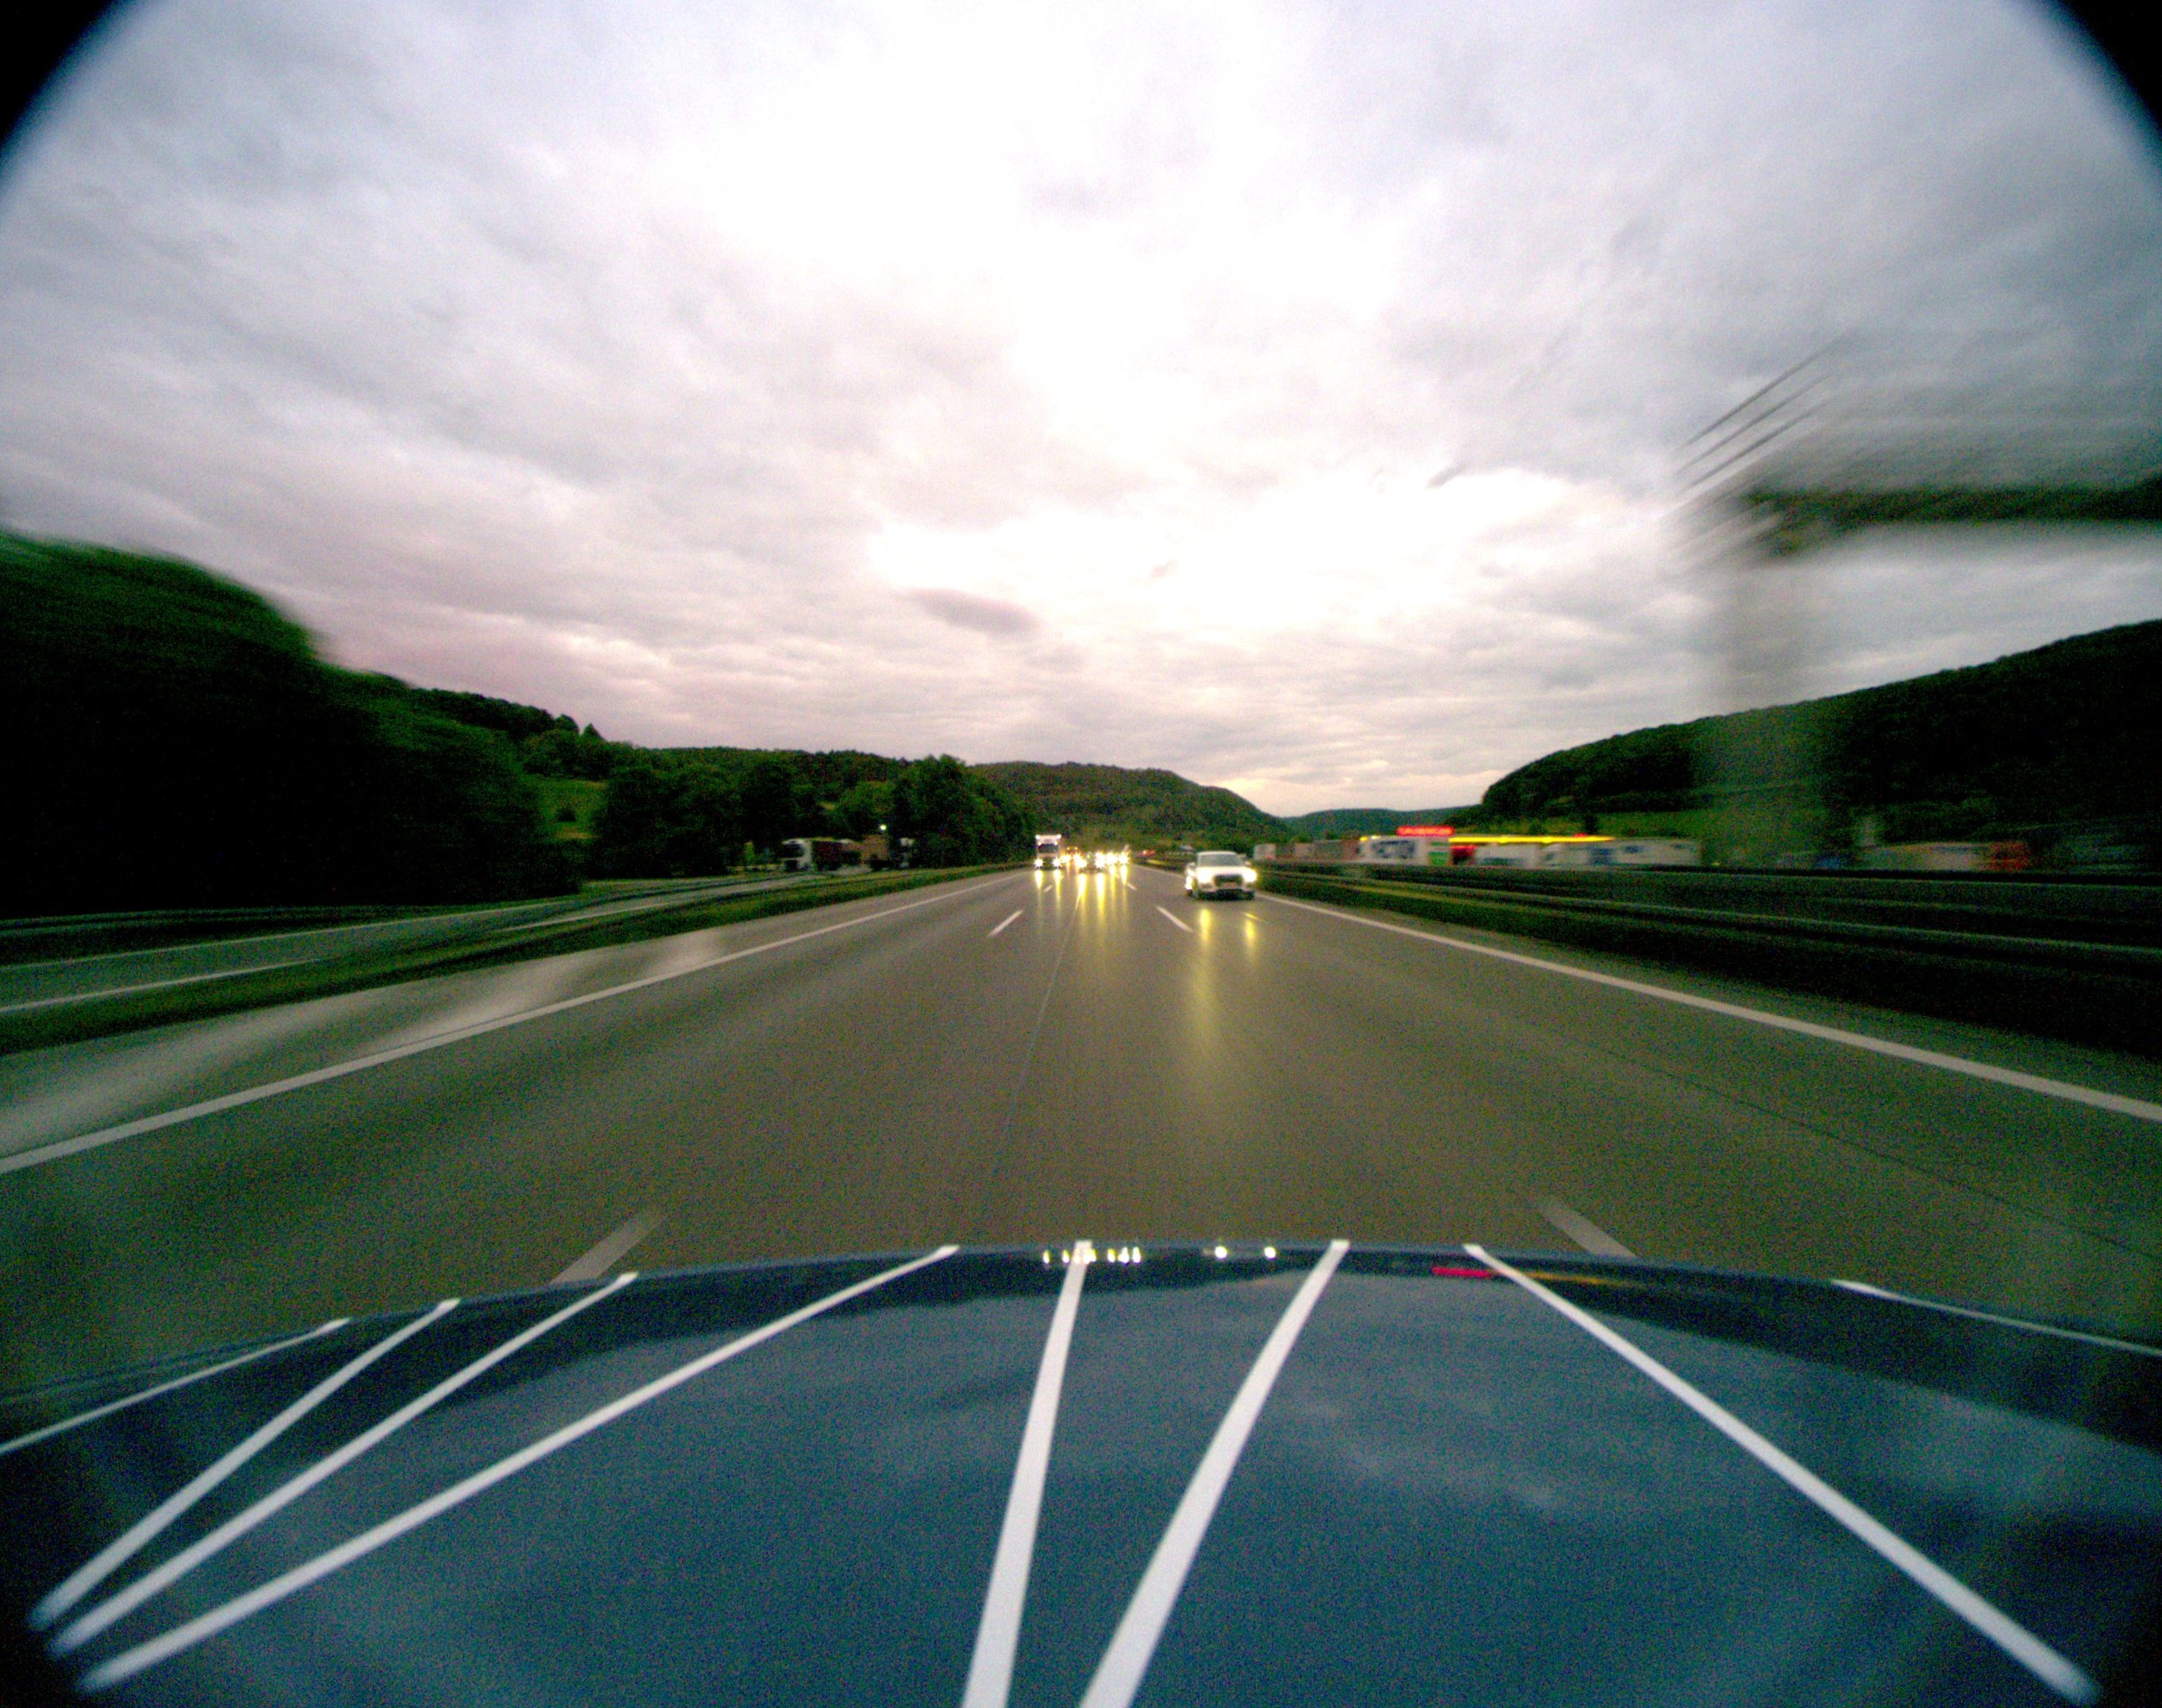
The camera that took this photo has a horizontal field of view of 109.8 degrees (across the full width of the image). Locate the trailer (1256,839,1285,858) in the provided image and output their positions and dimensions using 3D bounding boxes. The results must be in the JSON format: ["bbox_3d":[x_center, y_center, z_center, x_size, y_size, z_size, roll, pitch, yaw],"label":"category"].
[{"bbox_3d":[36.868,-1.003,148.399,2.880,3.405,13.226,-1,0,2],"label":"trailer"}]

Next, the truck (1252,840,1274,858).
[{"bbox_3d":[37.163,-0.992,155.236,2.880,3.356,7.175,-1,0,2],"label":"truck"}]

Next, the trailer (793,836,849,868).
[{"bbox_3d":[-33.356,-0.305,98.168,2.846,3.893,13.573,0,0,-1],"label":"trailer"}]

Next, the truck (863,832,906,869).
[{"bbox_3d":[-22.026,-0.422,85.847,2.847,3.893,11.981,0,1,-6],"label":"truck"}]

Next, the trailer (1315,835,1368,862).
[{"bbox_3d":[35.317,-0.702,103.797,2.880,3.405,13.851,-1,0,2],"label":"trailer"}]

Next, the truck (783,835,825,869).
[{"bbox_3d":[-33.205,-0.250,91.359,2.846,3.893,6.383,0,1,-1],"label":"truck"}]

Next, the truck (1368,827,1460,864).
[{"bbox_3d":[34.408,-0.808,79.505,2.881,3.405,13.785,-1,0,-3],"label":"truck"}]

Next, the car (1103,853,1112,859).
[{"bbox_3d":[6.319,0.435,182.066,1.898,1.503,4.000,-1,0,1],"label":"car"}]

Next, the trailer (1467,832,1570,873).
[{"bbox_3d":[49.711,-0.154,87.268,3.025,4.235,15.947,-1,0,2],"label":"trailer"}]

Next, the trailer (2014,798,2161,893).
[{"bbox_3d":[45.246,-0.401,32.080,3.063,3.657,13.368,-1,0,31],"label":"trailer"}]

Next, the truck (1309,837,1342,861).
[{"bbox_3d":[35.561,-0.722,110.853,2.880,3.405,6.727,-1,0,2],"label":"truck"}]

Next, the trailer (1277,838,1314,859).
[{"bbox_3d":[36.167,-0.910,128.857,2.880,3.405,13.571,-1,0,2],"label":"trailer"}]

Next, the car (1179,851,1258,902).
[{"bbox_3d":[4.502,0.685,25.554,1.794,1.492,5.037,-2,0,1],"label":"car"}]

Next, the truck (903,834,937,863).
[{"bbox_3d":[-24.365,-0.792,115.489,3.783,4.205,8.812,0,1,-4],"label":"truck"}]

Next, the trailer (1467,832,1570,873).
[{"bbox_3d":[49.681,-0.154,87.269,3.025,4.235,15.947,-1,0,2],"label":"trailer"}]

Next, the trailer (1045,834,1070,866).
[{"bbox_3d":[-2.916,-0.533,96.523,2.623,3.805,8.877,-1,1,1],"label":"trailer"}]

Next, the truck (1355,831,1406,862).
[{"bbox_3d":[34.043,-0.820,86.617,2.881,3.405,6.724,-1,0,-3],"label":"truck"}]

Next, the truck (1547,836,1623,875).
[{"bbox_3d":[49.255,0.155,74.497,2.880,3.619,7.029,-1,0,2],"label":"truck"}]

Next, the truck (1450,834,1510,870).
[{"bbox_3d":[49.916,-0.217,95.338,3.025,4.235,8.864,-1,0,2],"label":"truck"}]

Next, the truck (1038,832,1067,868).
[{"bbox_3d":[-3.138,-0.458,86.884,2.623,3.805,10.385,-1,1,1],"label":"truck"}]

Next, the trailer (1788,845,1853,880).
[{"bbox_3d":[80.797,0.788,83.327,2.932,3.499,13.446,0,1,35],"label":"trailer"}]

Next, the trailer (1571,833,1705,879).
[{"bbox_3d":[49.024,0.168,67.631,2.880,3.657,12.717,-1,0,2],"label":"trailer"}]

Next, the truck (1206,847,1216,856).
[{"bbox_3d":[44.728,-0.783,261.846,2.874,3.070,5.304,0,1,2],"label":"truck"}]

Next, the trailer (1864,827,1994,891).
[{"bbox_3d":[60.952,0.238,55.144,3.280,4.082,14.475,0,1,36],"label":"trailer"}]

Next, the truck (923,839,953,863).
[{"bbox_3d":[-24.468,-0.602,130.754,3.362,3.893,11.985,0,0,-3],"label":"truck"}]

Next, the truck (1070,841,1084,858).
[{"bbox_3d":[-1.043,-1.122,190.152,3.119,3.850,14.162,2,0,1],"label":"truck"}]

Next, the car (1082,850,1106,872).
[{"bbox_3d":[1.049,0.553,61.686,1.927,1.674,4.806,0,1,1],"label":"car"}]

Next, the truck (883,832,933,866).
[{"bbox_3d":[-23.725,-0.720,105.656,3.785,4.204,19.518,0,0,-4],"label":"truck"}]

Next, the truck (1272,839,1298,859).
[{"bbox_3d":[36.412,-0.917,135.802,2.880,3.405,6.727,-1,0,2],"label":"truck"}]

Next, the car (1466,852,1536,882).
[{"bbox_3d":[21.251,0.629,38.609,1.645,1.412,3.535,-1,0,1],"label":"car"}]

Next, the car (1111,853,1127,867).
[{"bbox_3d":[5.112,0.806,102.985,1.894,1.650,5.638,-2,1,0],"label":"car"}]

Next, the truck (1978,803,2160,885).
[{"bbox_3d":[48.842,-0.455,37.941,3.005,3.657,7.693,-1,0,32],"label":"truck"}]
